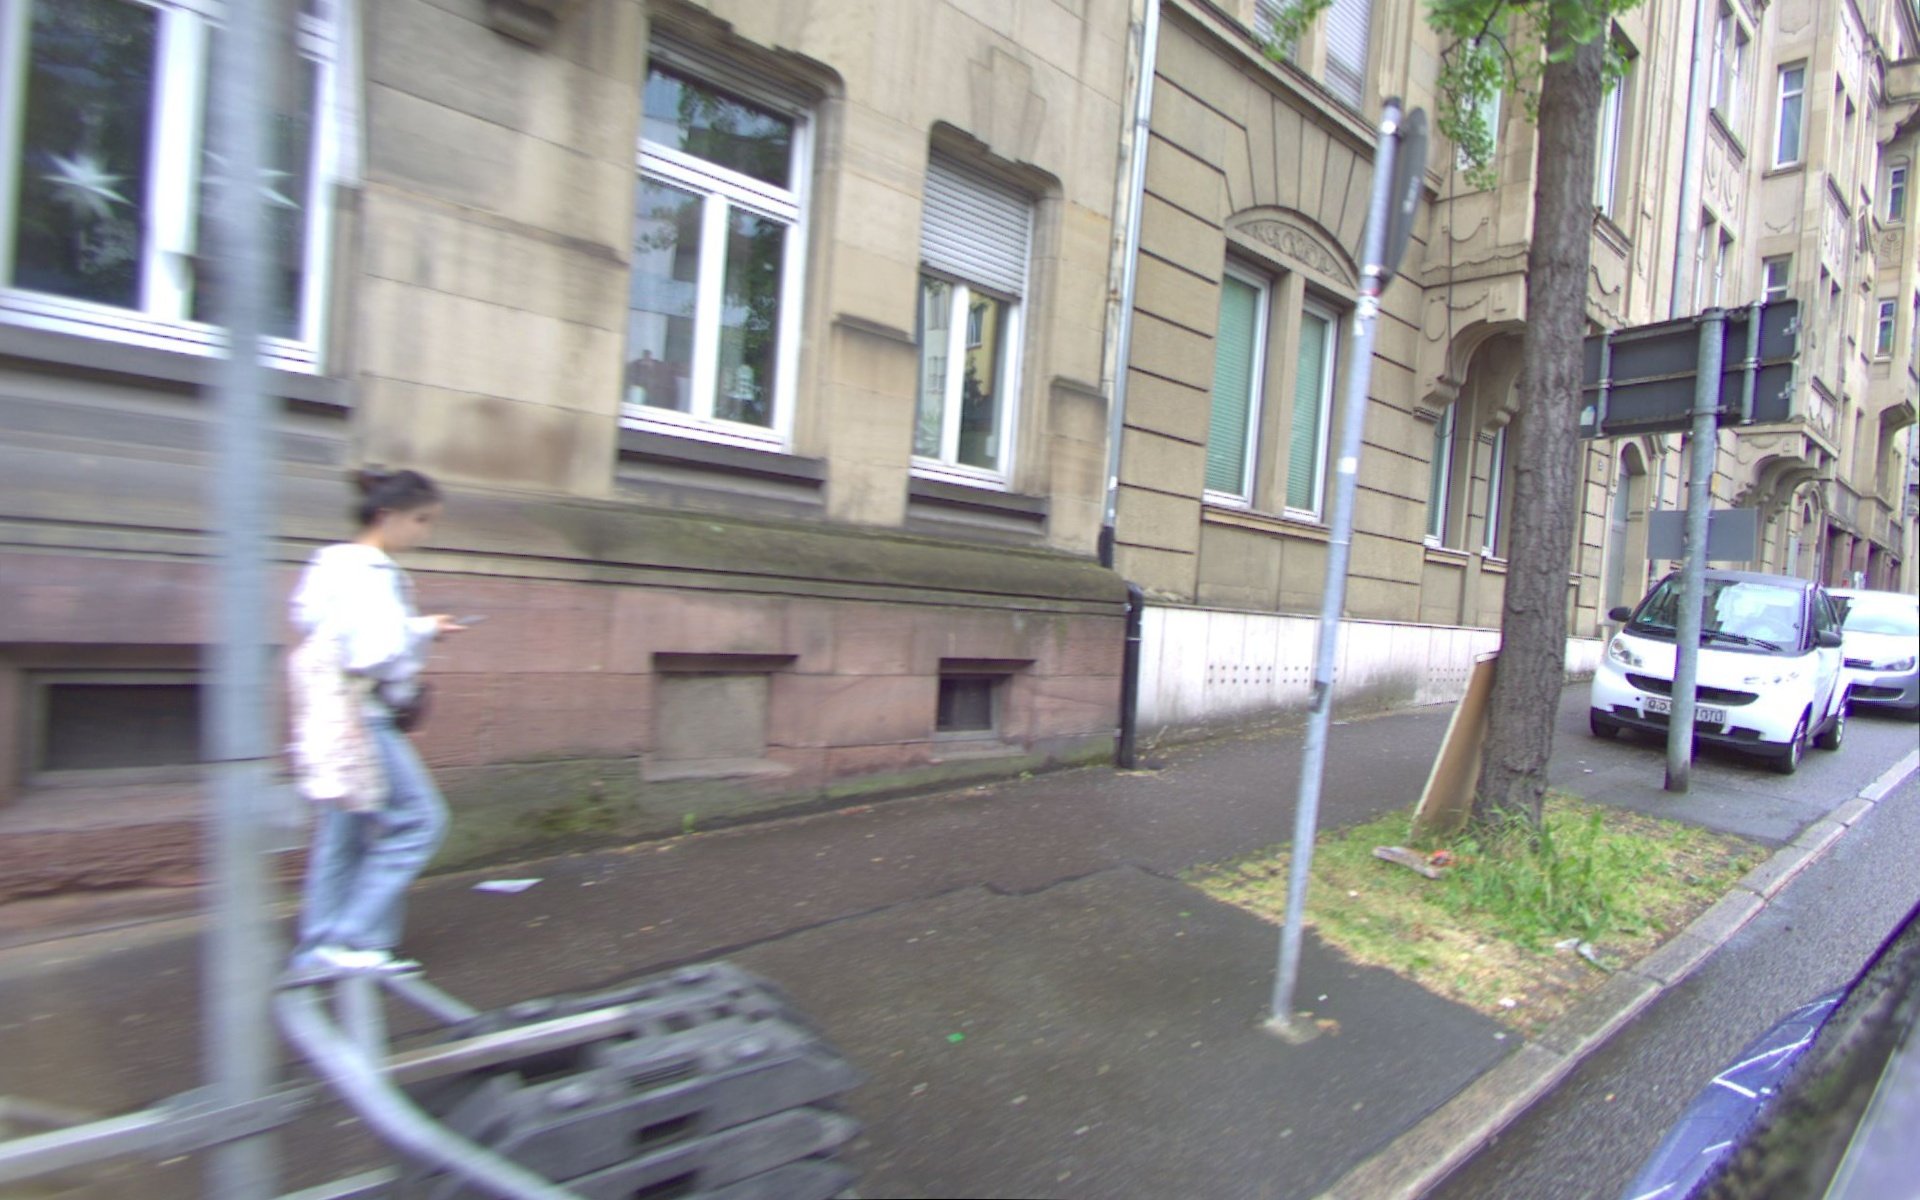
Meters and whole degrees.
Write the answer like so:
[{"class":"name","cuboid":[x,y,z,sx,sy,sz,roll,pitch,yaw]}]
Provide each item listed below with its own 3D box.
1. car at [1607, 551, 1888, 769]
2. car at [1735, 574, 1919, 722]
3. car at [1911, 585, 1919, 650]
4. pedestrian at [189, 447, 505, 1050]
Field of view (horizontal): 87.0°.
[{"class":"car","cuboid":[7.167,0.434,9.139,2.924,1.561,1.303,0,6,-41]},{"class":"car","cuboid":[11.604,0.511,12.954,3.930,1.468,1.765,0,7,-41]},{"class":"car","cuboid":[21.969,0.300,21.629,4.025,1.670,1.765,0,6,-40]},{"class":"pedestrian","cuboid":[-1.818,0.350,2.982,0.681,1.526,0.633,0,6,-41]}]
